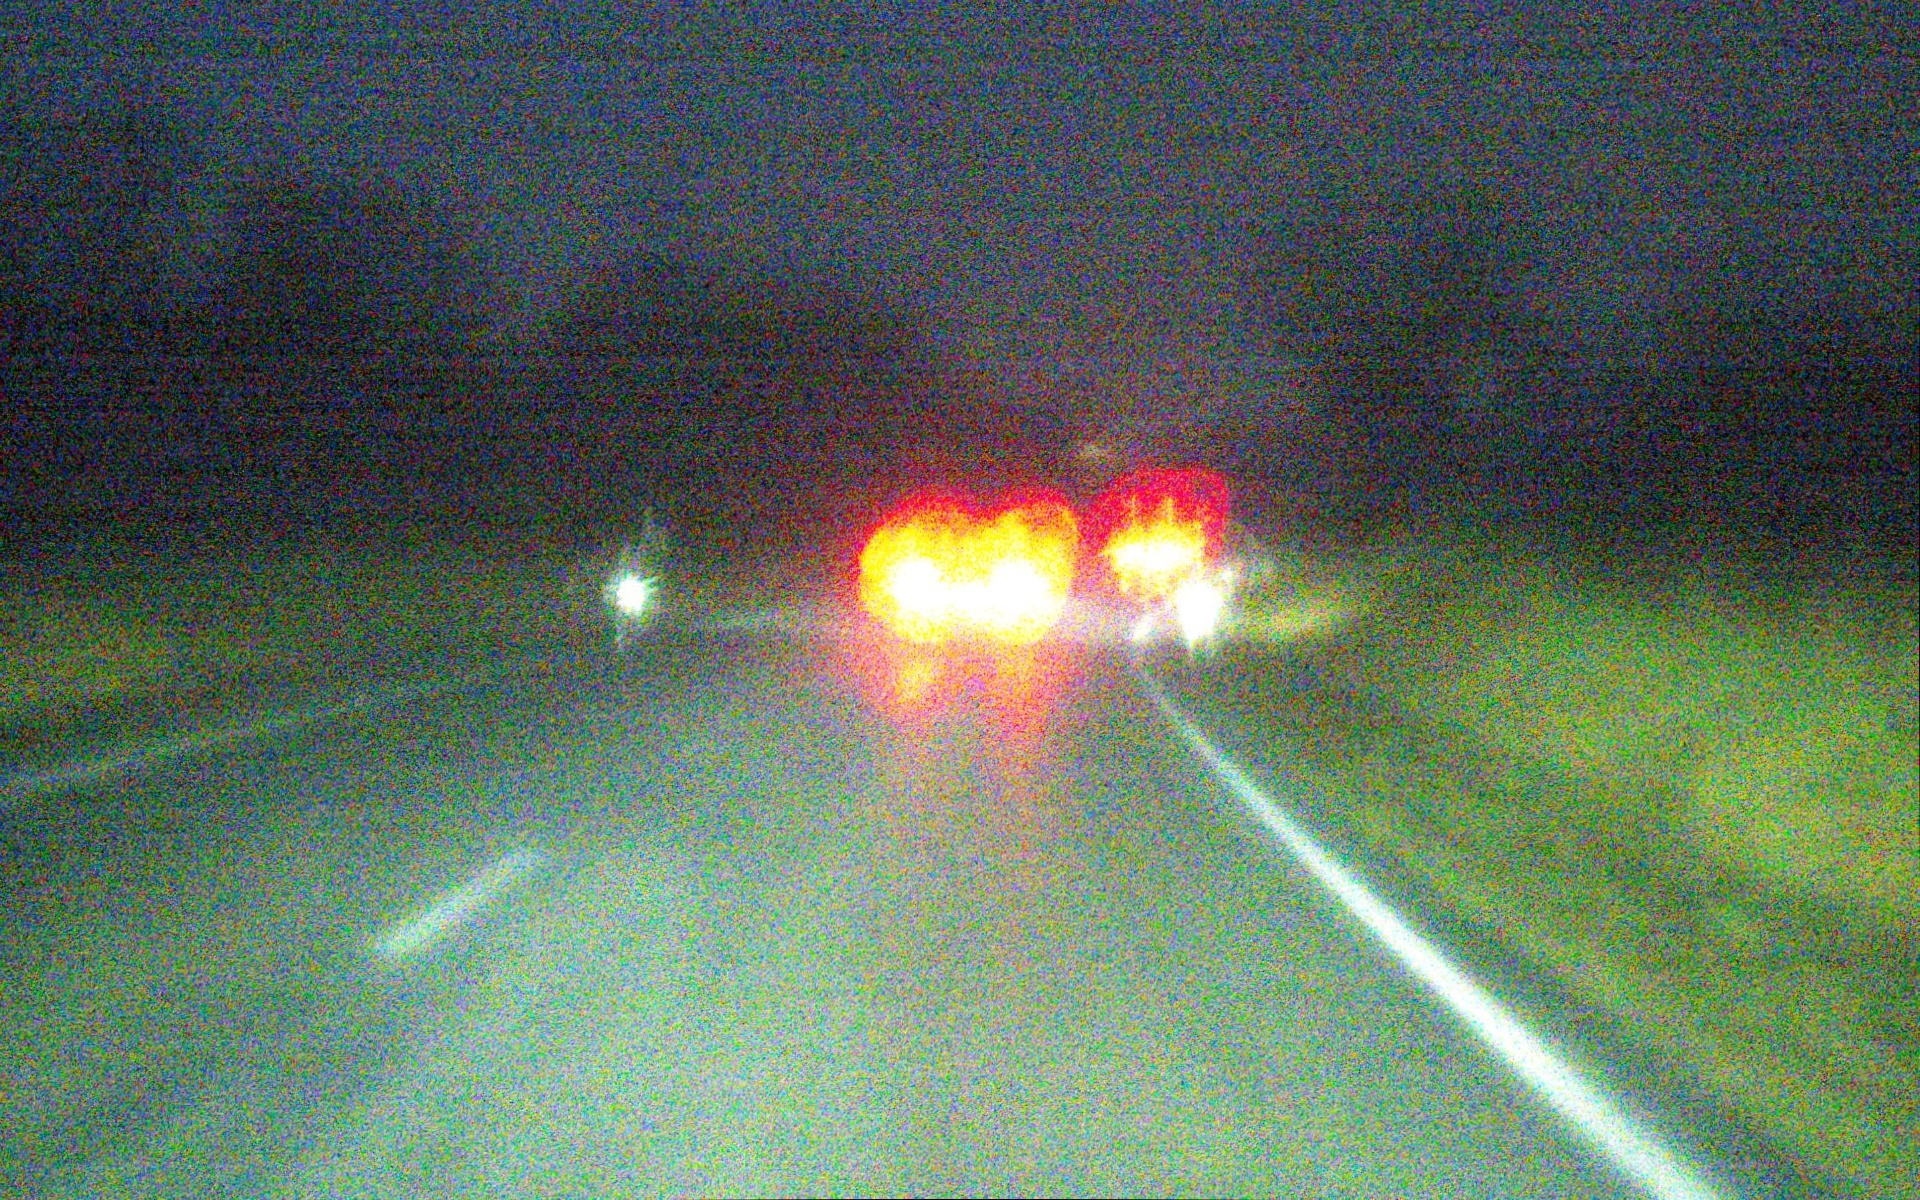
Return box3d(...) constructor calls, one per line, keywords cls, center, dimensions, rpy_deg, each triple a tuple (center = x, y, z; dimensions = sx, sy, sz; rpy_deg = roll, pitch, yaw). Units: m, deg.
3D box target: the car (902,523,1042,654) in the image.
box3d(cls="car", center=(0.165, -0.191, 47.236), dimensions=(1.842, 1.734, 4.000), rpy_deg=(0, 1, 0))
